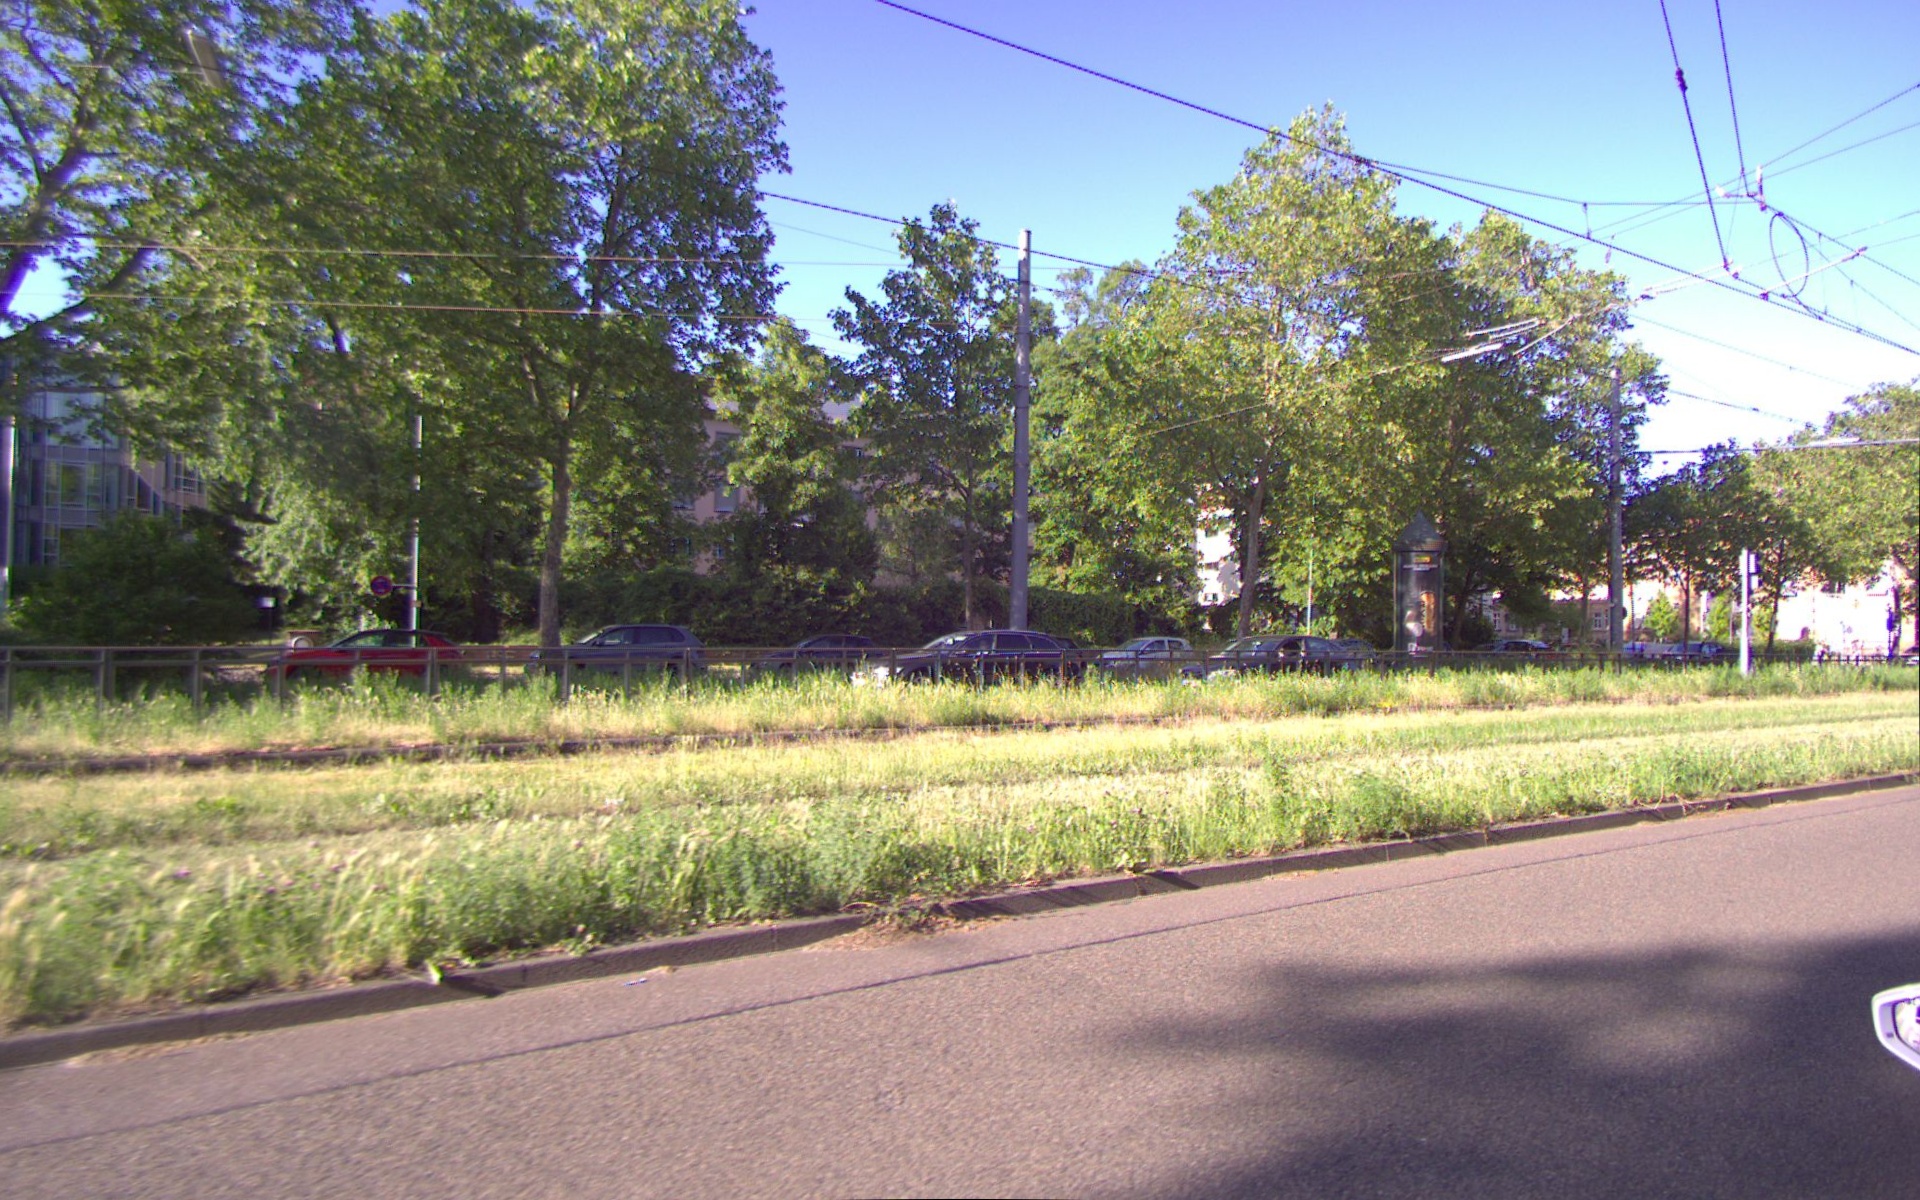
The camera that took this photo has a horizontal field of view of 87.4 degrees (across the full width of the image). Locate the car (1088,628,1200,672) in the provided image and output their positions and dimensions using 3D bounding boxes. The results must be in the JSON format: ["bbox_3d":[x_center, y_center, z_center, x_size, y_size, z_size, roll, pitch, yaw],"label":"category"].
[{"bbox_3d":[6.137,1.643,33.403,3.461,1.330,1.561,1,1,-29],"label":"car"}]

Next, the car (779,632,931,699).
[{"bbox_3d":[-2.998,1.830,28.798,3.953,1.706,1.812,1,1,-30],"label":"car"}]

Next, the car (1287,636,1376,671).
[{"bbox_3d":[14.183,2.026,38.320,3.320,1.244,1.400,2,-2,-30],"label":"car"}]

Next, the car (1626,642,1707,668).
[{"bbox_3d":[35.335,2.739,50.233,3.952,1.194,1.784,2,0,-29],"label":"car"}]

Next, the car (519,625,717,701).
[{"bbox_3d":[-8.707,1.526,25.666,4.463,1.706,1.983,1,1,-32],"label":"car"}]

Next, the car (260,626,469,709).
[{"bbox_3d":[-13.529,1.473,23.011,3.954,1.644,1.983,1,1,-31],"label":"car"}]

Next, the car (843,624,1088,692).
[{"bbox_3d":[0.155,1.101,20.010,4.647,1.150,1.683,1,1,-28],"label":"car"}]

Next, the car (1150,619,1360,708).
[{"bbox_3d":[6.006,1.226,20.414,3.997,1.573,1.786,1,1,-29],"label":"car"}]

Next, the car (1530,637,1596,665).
[{"bbox_3d":[27.356,2.300,45.549,2.812,1.216,1.394,2,-2,-30],"label":"car"}]
